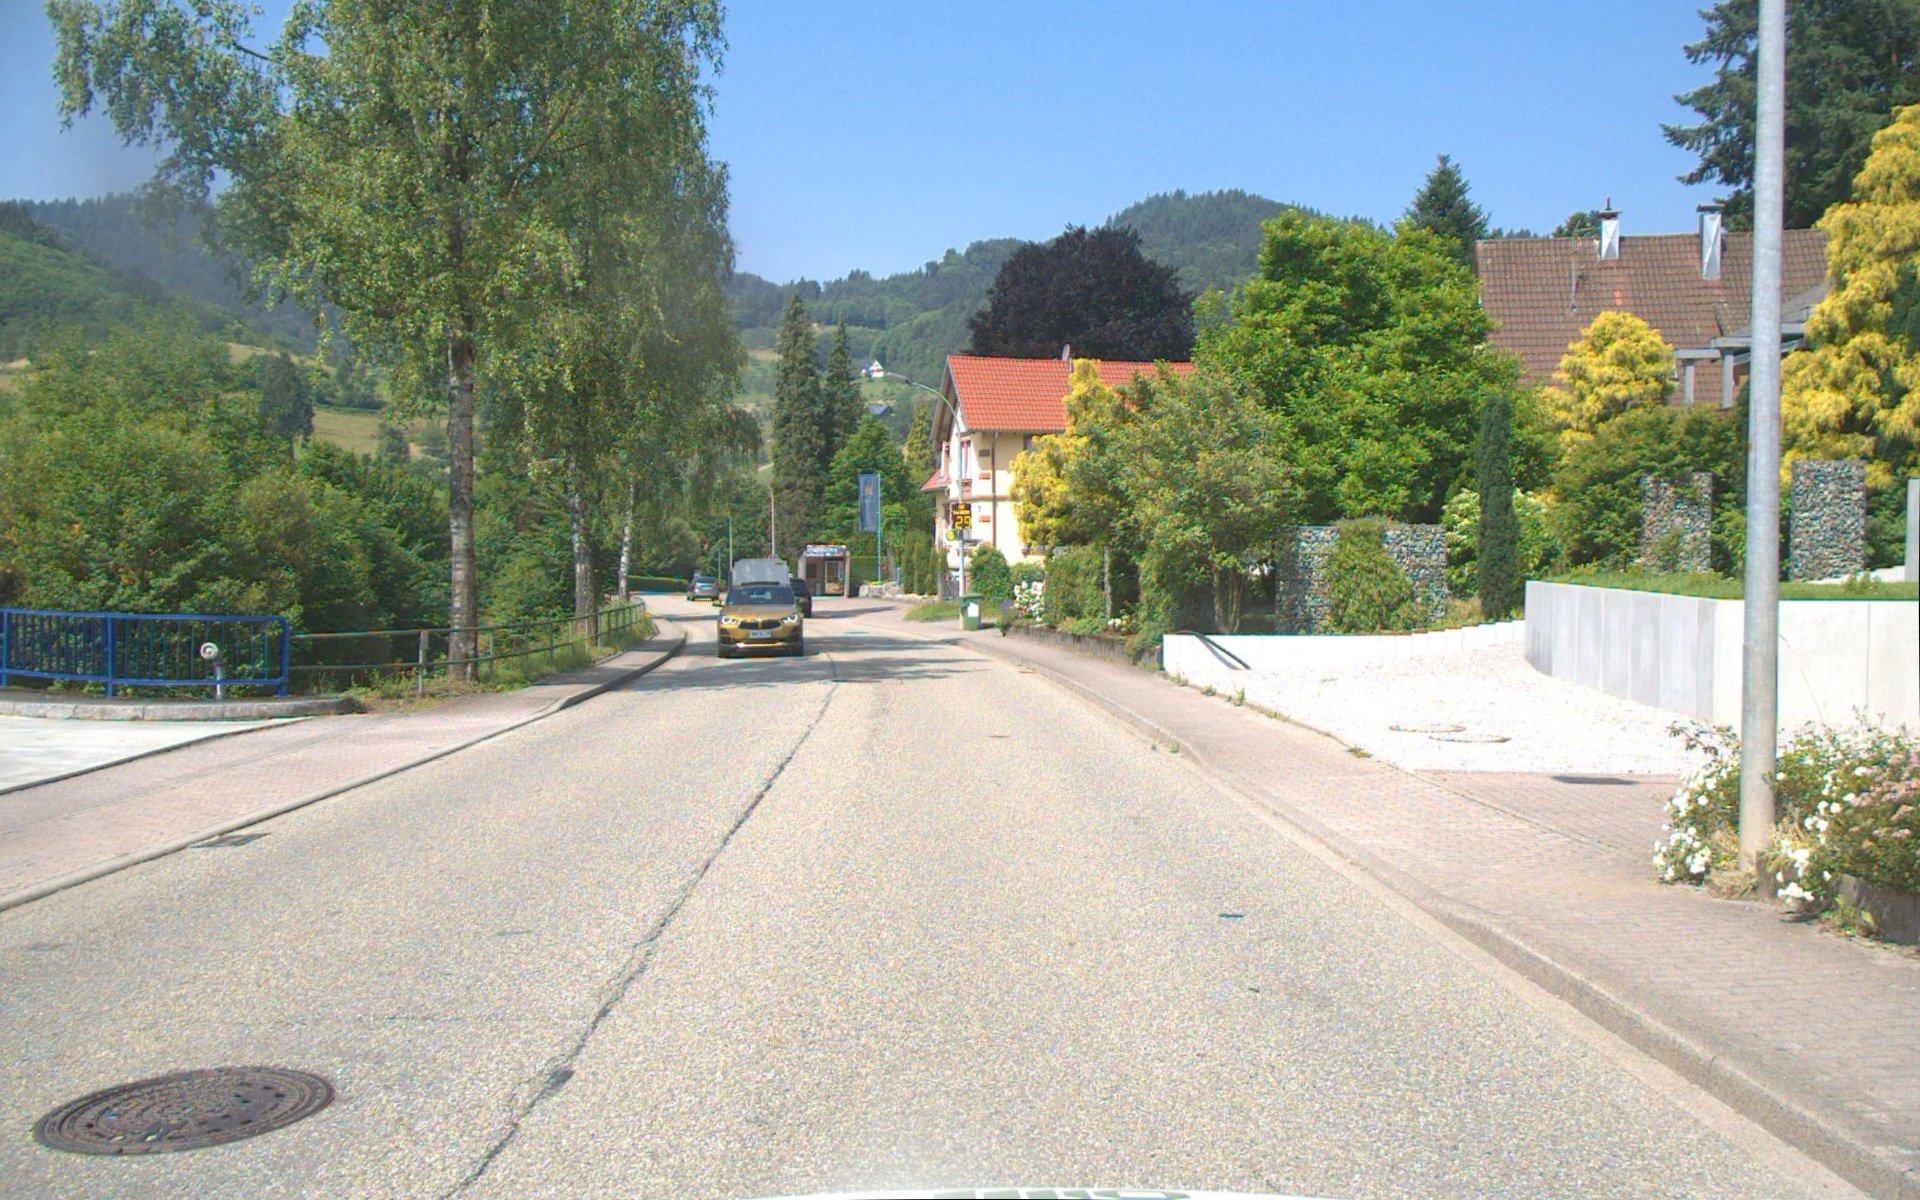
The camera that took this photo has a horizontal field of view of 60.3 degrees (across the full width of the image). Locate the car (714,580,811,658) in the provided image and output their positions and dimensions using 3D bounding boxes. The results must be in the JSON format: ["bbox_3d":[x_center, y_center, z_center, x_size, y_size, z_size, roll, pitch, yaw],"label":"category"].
[{"bbox_3d":[-4.188,0.359,35.556,1.777,1.526,4.146,-1,1,-3],"label":"car"}]

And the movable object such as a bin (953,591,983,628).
[{"bbox_3d":[0.244,0.280,49.367,0.794,1.060,0.578,-1,1,-10],"label":"movable object such as a bin"}]

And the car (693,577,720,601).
[{"bbox_3d":[-15.500,-0.699,101.266,1.599,1.447,3.391,0,0,-9],"label":"car"}]

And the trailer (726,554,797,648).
[{"bbox_3d":[-4.712,0.009,39.570,1.438,2.114,3.668,-1,1,-3],"label":"trailer"}]

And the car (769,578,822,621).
[{"bbox_3d":[-7.026,-0.038,70.374,1.885,1.728,3.779,-1,1,-11],"label":"car"}]
